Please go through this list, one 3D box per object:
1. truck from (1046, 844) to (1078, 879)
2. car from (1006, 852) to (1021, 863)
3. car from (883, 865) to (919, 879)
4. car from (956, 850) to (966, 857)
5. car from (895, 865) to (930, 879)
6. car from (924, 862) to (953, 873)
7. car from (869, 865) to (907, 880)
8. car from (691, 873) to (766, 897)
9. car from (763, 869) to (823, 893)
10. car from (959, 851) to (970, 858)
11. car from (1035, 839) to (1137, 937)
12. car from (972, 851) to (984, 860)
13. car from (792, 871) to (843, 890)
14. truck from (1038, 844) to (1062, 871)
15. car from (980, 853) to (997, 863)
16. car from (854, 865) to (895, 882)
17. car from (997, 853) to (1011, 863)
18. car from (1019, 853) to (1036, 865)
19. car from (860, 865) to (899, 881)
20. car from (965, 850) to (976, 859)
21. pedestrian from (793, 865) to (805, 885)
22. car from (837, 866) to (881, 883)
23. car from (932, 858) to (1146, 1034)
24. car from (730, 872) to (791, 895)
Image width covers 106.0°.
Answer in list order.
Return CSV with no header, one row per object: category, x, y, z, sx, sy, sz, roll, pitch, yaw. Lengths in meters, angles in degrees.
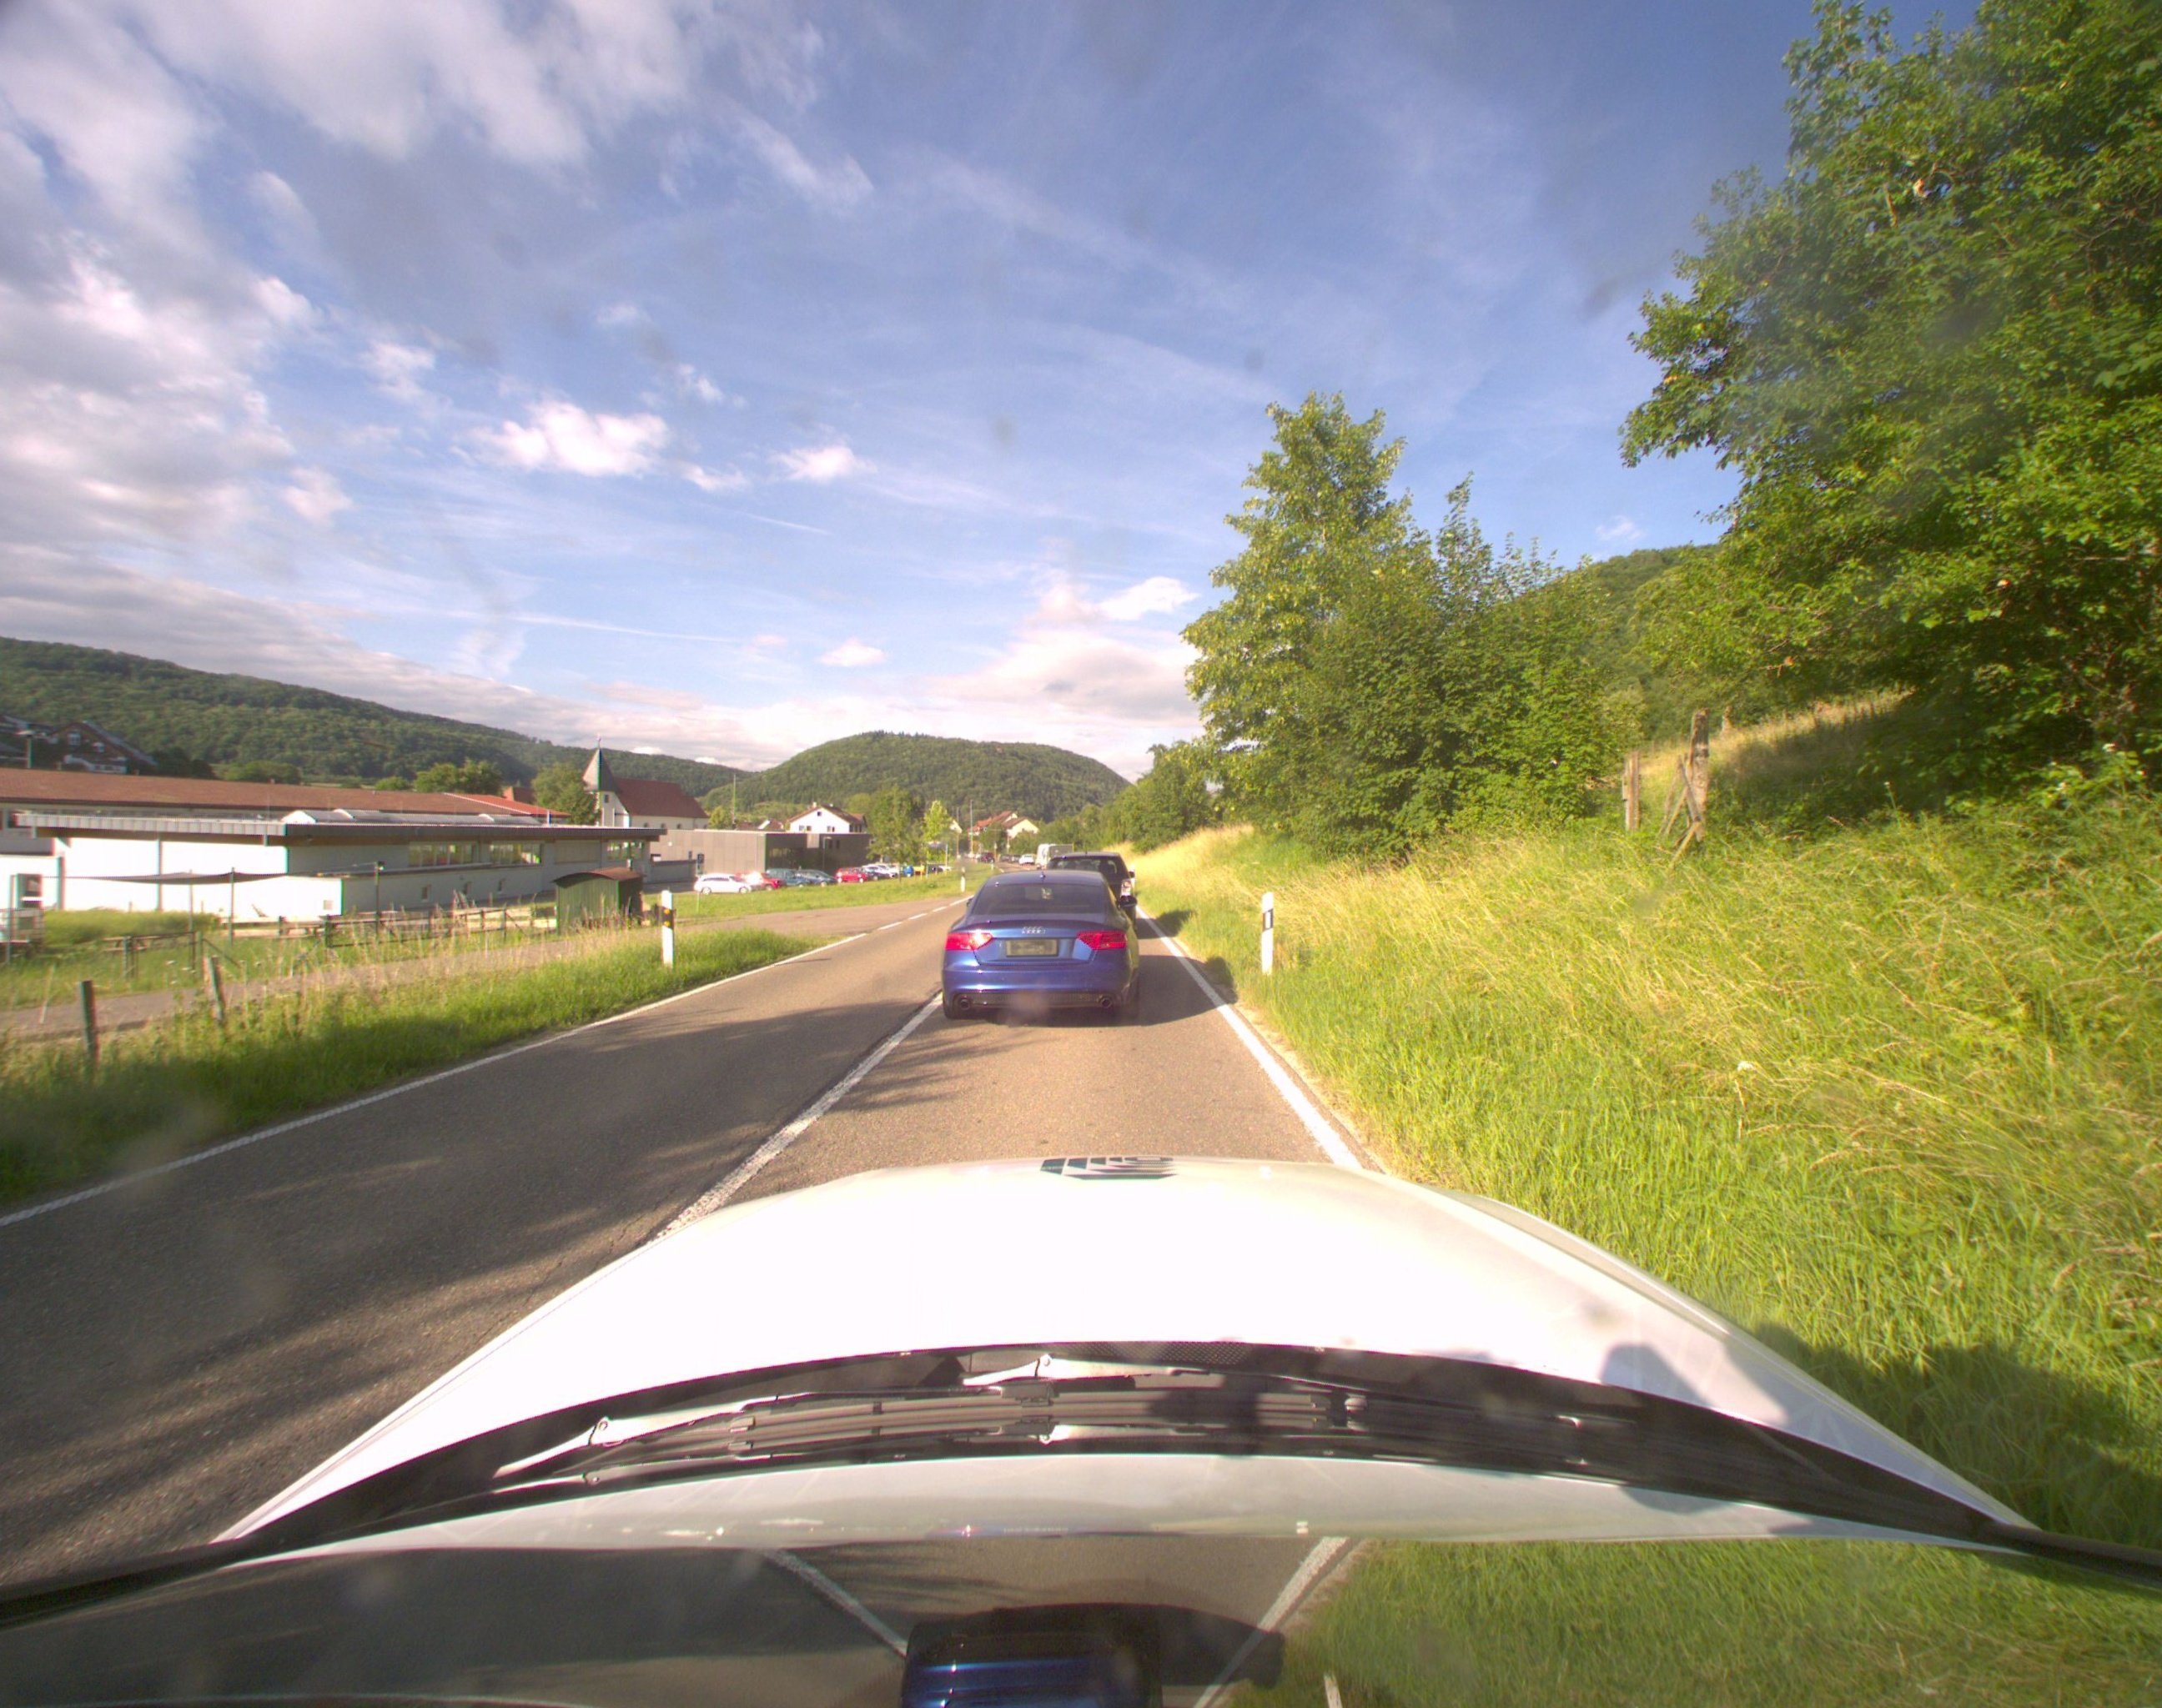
truck,-1.524,0.565,62.815,2.225,2.570,6.096,0,-1,-3
car,-10.438,0.509,125.615,1.847,1.712,3.982,0,-1,-13
car,-22.557,2.241,102.035,3.975,1.711,1.999,0,-1,-1
car,-28.798,-0.120,195.061,1.850,1.712,3.976,0,-1,-17
car,-21.642,2.258,104.690,3.975,1.711,1.999,0,-1,-1
car,-20.811,1.941,119.248,3.975,1.579,1.752,0,-1,-1
car,-22.802,2.191,96.250,3.975,1.711,1.999,0,-1,-1
car,-26.429,2.317,61.204,4.717,1.711,1.999,0,-1,-1
car,-24.706,2.315,69.988,4.393,2.008,1.999,0,-1,-1
car,-26.761,0.151,187.528,1.850,1.712,3.976,0,-1,-18
car,0.185,0.612,15.993,1.747,1.681,3.849,0,-1,3
car,-21.605,0.293,171.339,1.850,1.712,3.976,0,-1,-17
car,-24.091,2.420,74.479,3.975,1.711,1.999,0,-1,-1
truck,-3.032,0.355,79.282,2.224,2.570,6.702,0,-1,-2
car,-15.246,0.641,133.663,1.853,1.712,3.971,0,-1,-22
car,-22.650,2.126,89.302,3.975,1.711,1.999,0,-1,-1
car,-13.002,0.661,137.830,1.847,1.712,3.982,0,-1,-13
car,-7.263,0.691,110.543,1.845,1.482,3.987,0,-1,-9
car,-23.009,2.162,92.969,3.975,1.711,1.999,0,-1,-1
car,-24.263,0.117,179.070,1.850,1.712,3.976,0,-1,-18
pedestrian,-29.544,2.201,85.272,0.822,2.014,0.973,0,-1,1
car,-23.094,2.088,84.760,3.975,1.711,1.999,0,-1,-1
car,-0.257,0.773,8.596,1.747,1.430,3.849,0,-1,3
car,-25.206,2.335,64.185,3.975,1.711,1.999,0,-1,-1
